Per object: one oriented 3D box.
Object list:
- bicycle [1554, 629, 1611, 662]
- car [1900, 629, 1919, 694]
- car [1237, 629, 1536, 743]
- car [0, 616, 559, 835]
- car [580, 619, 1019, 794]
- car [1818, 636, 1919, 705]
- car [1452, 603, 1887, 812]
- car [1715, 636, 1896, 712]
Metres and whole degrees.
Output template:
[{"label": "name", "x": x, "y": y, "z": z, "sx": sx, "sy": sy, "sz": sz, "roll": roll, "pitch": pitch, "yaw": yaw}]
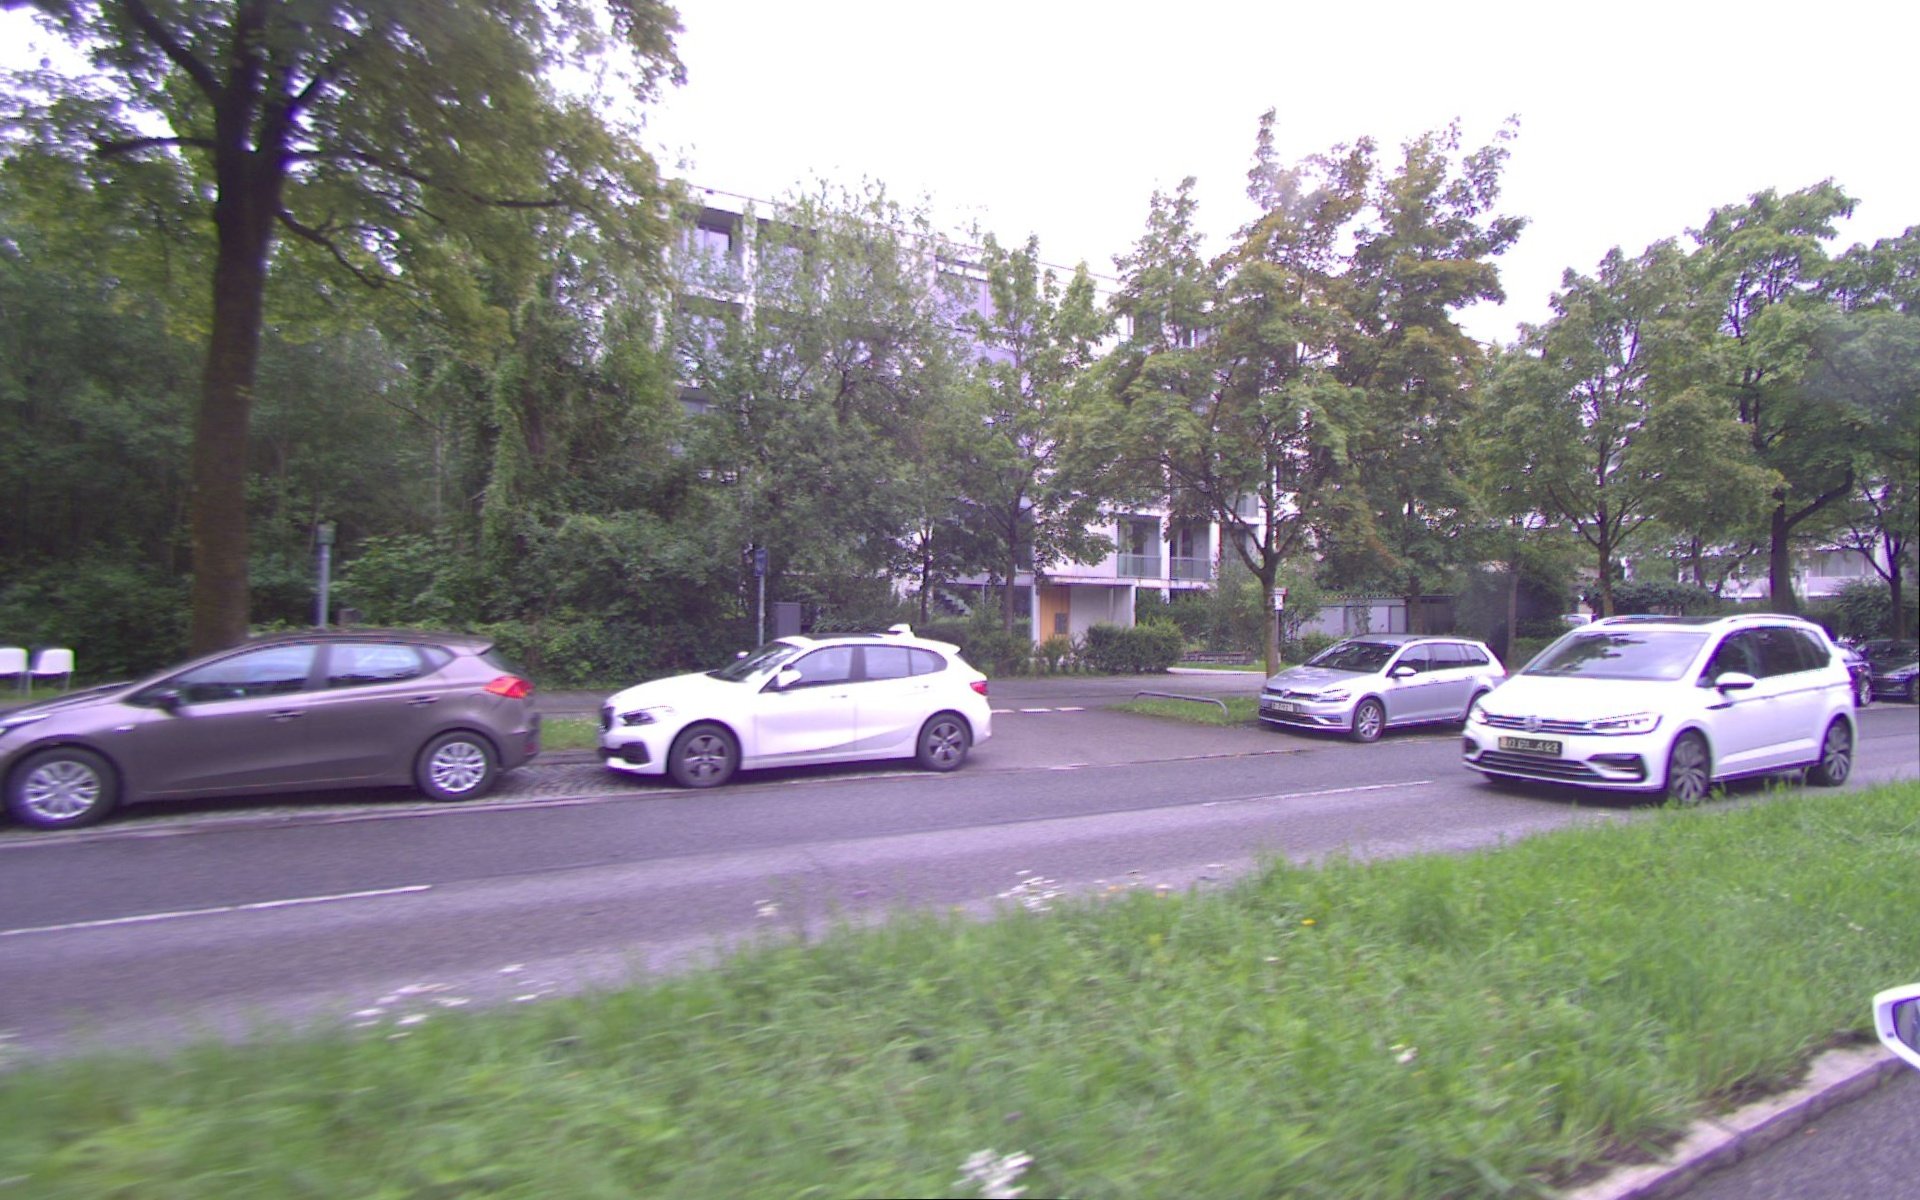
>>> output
[{"label": "bicycle", "x": 24.369, "y": 1.785, "z": 39.349, "sx": 0.527, "sy": 1.243, "sz": 1.841, "roll": 1, "pitch": -2, "yaw": -39}, {"label": "car", "x": 26.801, "y": 1.658, "z": 26.568, "sx": 3.819, "sy": 1.670, "sz": 1.619, "roll": 1, "pitch": 1, "yaw": -28}, {"label": "car", "x": 6.729, "y": 1.253, "z": 15.704, "sx": 4.764, "sy": 1.468, "sz": 1.728, "roll": 1, "pitch": 1, "yaw": -29}, {"label": "car", "x": -5.875, "y": 0.943, "z": 8.729, "sx": 4.280, "sy": 1.502, "sz": 1.731, "roll": 1, "pitch": 1, "yaw": -28}, {"label": "car", "x": -1.690, "y": 1.027, "z": 10.983, "sx": 4.419, "sy": 1.550, "sz": 1.732, "roll": 1, "pitch": 0, "yaw": -28}, {"label": "car", "x": 22.878, "y": 1.664, "z": 24.424, "sx": 4.139, "sy": 1.442, "sz": 1.619, "roll": 1, "pitch": 1, "yaw": -28}, {"label": "car", "x": 7.027, "y": 0.923, "z": 9.881, "sx": 4.298, "sy": 1.664, "sz": 1.826, "roll": 1, "pitch": -2, "yaw": -29}, {"label": "car", "x": 18.560, "y": 1.558, "z": 22.012, "sx": 4.310, "sy": 1.442, "sz": 1.573, "roll": 1, "pitch": 1, "yaw": -29}]
